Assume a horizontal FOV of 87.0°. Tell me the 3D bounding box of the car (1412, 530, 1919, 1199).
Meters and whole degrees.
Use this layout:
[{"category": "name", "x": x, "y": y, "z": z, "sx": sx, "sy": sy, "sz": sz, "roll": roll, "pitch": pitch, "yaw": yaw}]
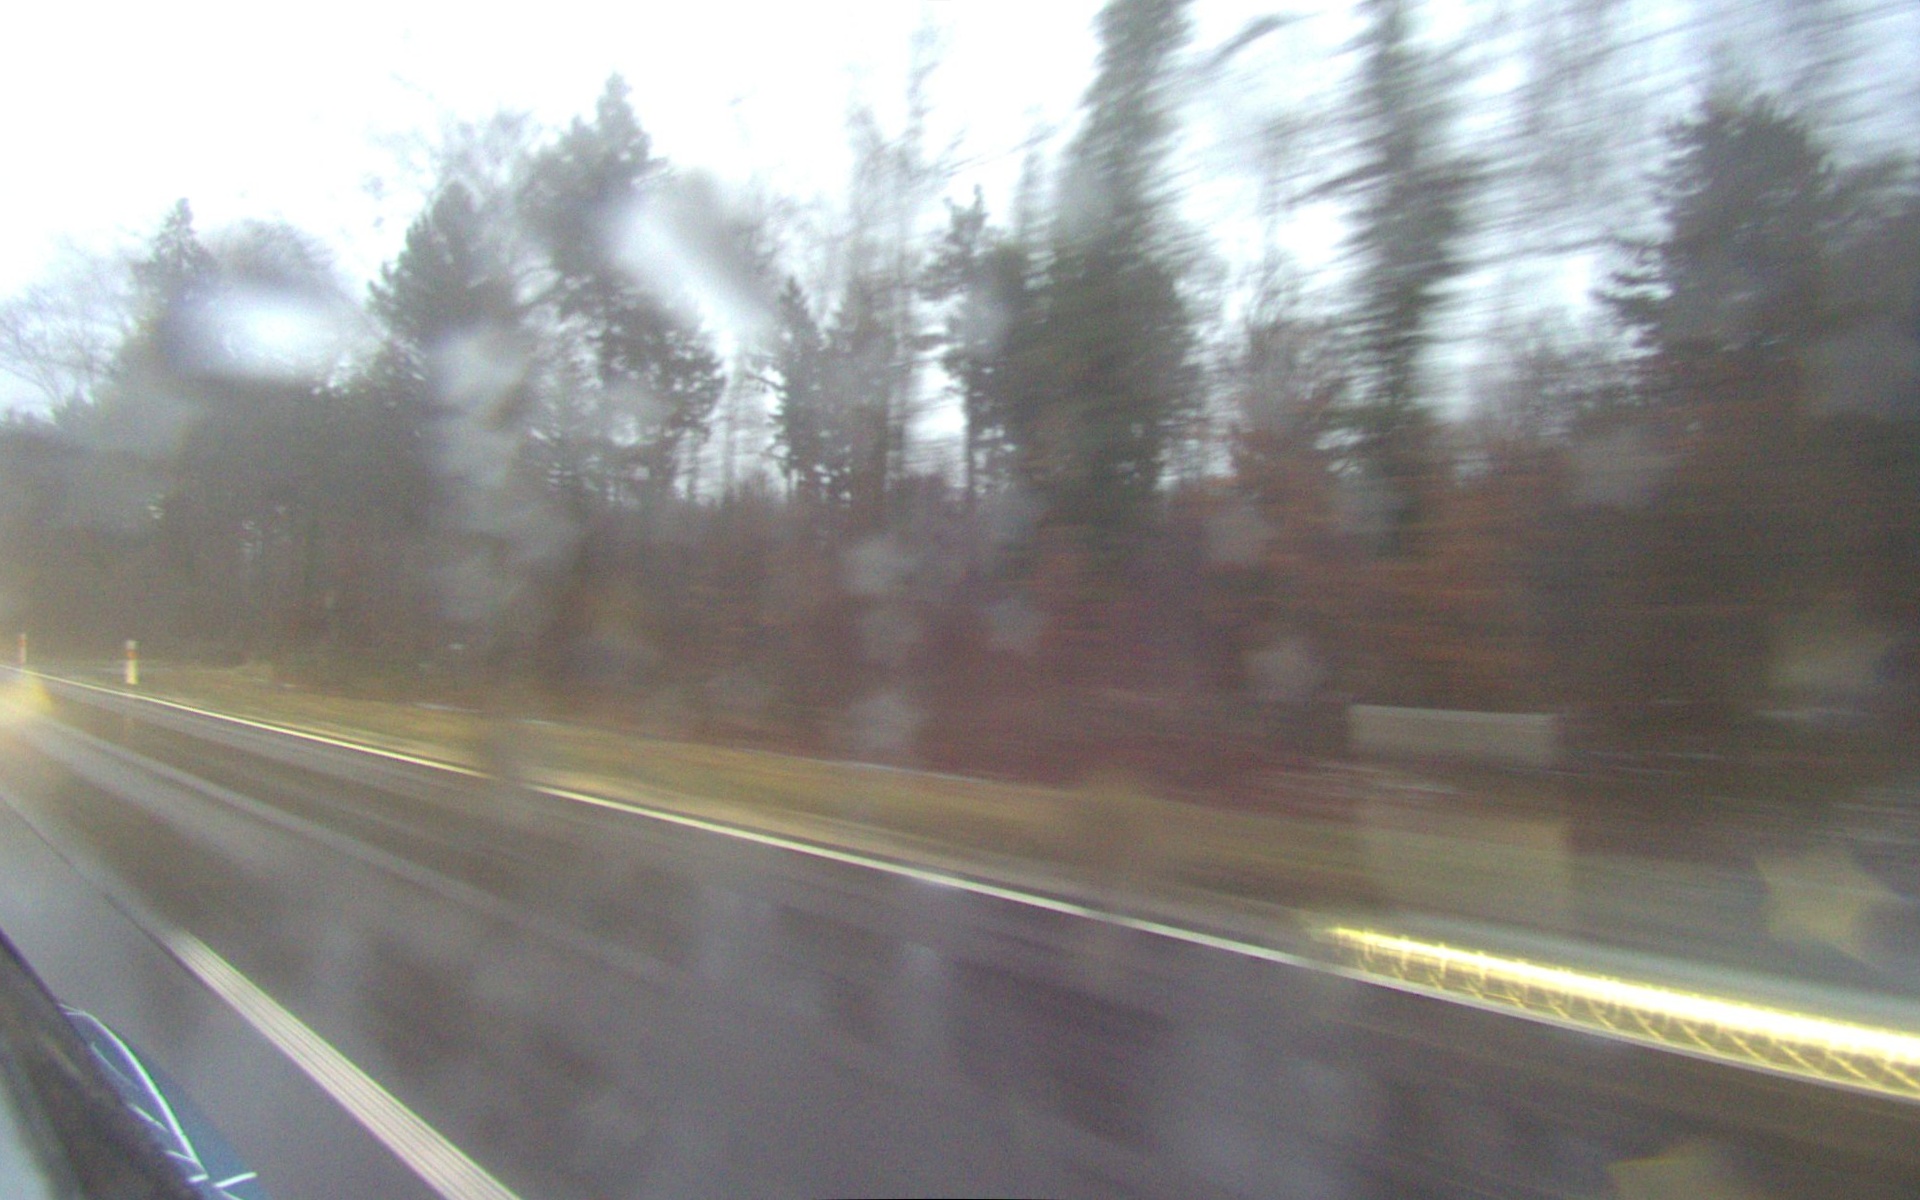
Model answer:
[{"category": "car", "x": 3.424, "y": 0.673, "z": 1.188, "sx": 4.927, "sy": 1.580, "sz": 1.953, "roll": -1, "pitch": -3, "yaw": 43}]
